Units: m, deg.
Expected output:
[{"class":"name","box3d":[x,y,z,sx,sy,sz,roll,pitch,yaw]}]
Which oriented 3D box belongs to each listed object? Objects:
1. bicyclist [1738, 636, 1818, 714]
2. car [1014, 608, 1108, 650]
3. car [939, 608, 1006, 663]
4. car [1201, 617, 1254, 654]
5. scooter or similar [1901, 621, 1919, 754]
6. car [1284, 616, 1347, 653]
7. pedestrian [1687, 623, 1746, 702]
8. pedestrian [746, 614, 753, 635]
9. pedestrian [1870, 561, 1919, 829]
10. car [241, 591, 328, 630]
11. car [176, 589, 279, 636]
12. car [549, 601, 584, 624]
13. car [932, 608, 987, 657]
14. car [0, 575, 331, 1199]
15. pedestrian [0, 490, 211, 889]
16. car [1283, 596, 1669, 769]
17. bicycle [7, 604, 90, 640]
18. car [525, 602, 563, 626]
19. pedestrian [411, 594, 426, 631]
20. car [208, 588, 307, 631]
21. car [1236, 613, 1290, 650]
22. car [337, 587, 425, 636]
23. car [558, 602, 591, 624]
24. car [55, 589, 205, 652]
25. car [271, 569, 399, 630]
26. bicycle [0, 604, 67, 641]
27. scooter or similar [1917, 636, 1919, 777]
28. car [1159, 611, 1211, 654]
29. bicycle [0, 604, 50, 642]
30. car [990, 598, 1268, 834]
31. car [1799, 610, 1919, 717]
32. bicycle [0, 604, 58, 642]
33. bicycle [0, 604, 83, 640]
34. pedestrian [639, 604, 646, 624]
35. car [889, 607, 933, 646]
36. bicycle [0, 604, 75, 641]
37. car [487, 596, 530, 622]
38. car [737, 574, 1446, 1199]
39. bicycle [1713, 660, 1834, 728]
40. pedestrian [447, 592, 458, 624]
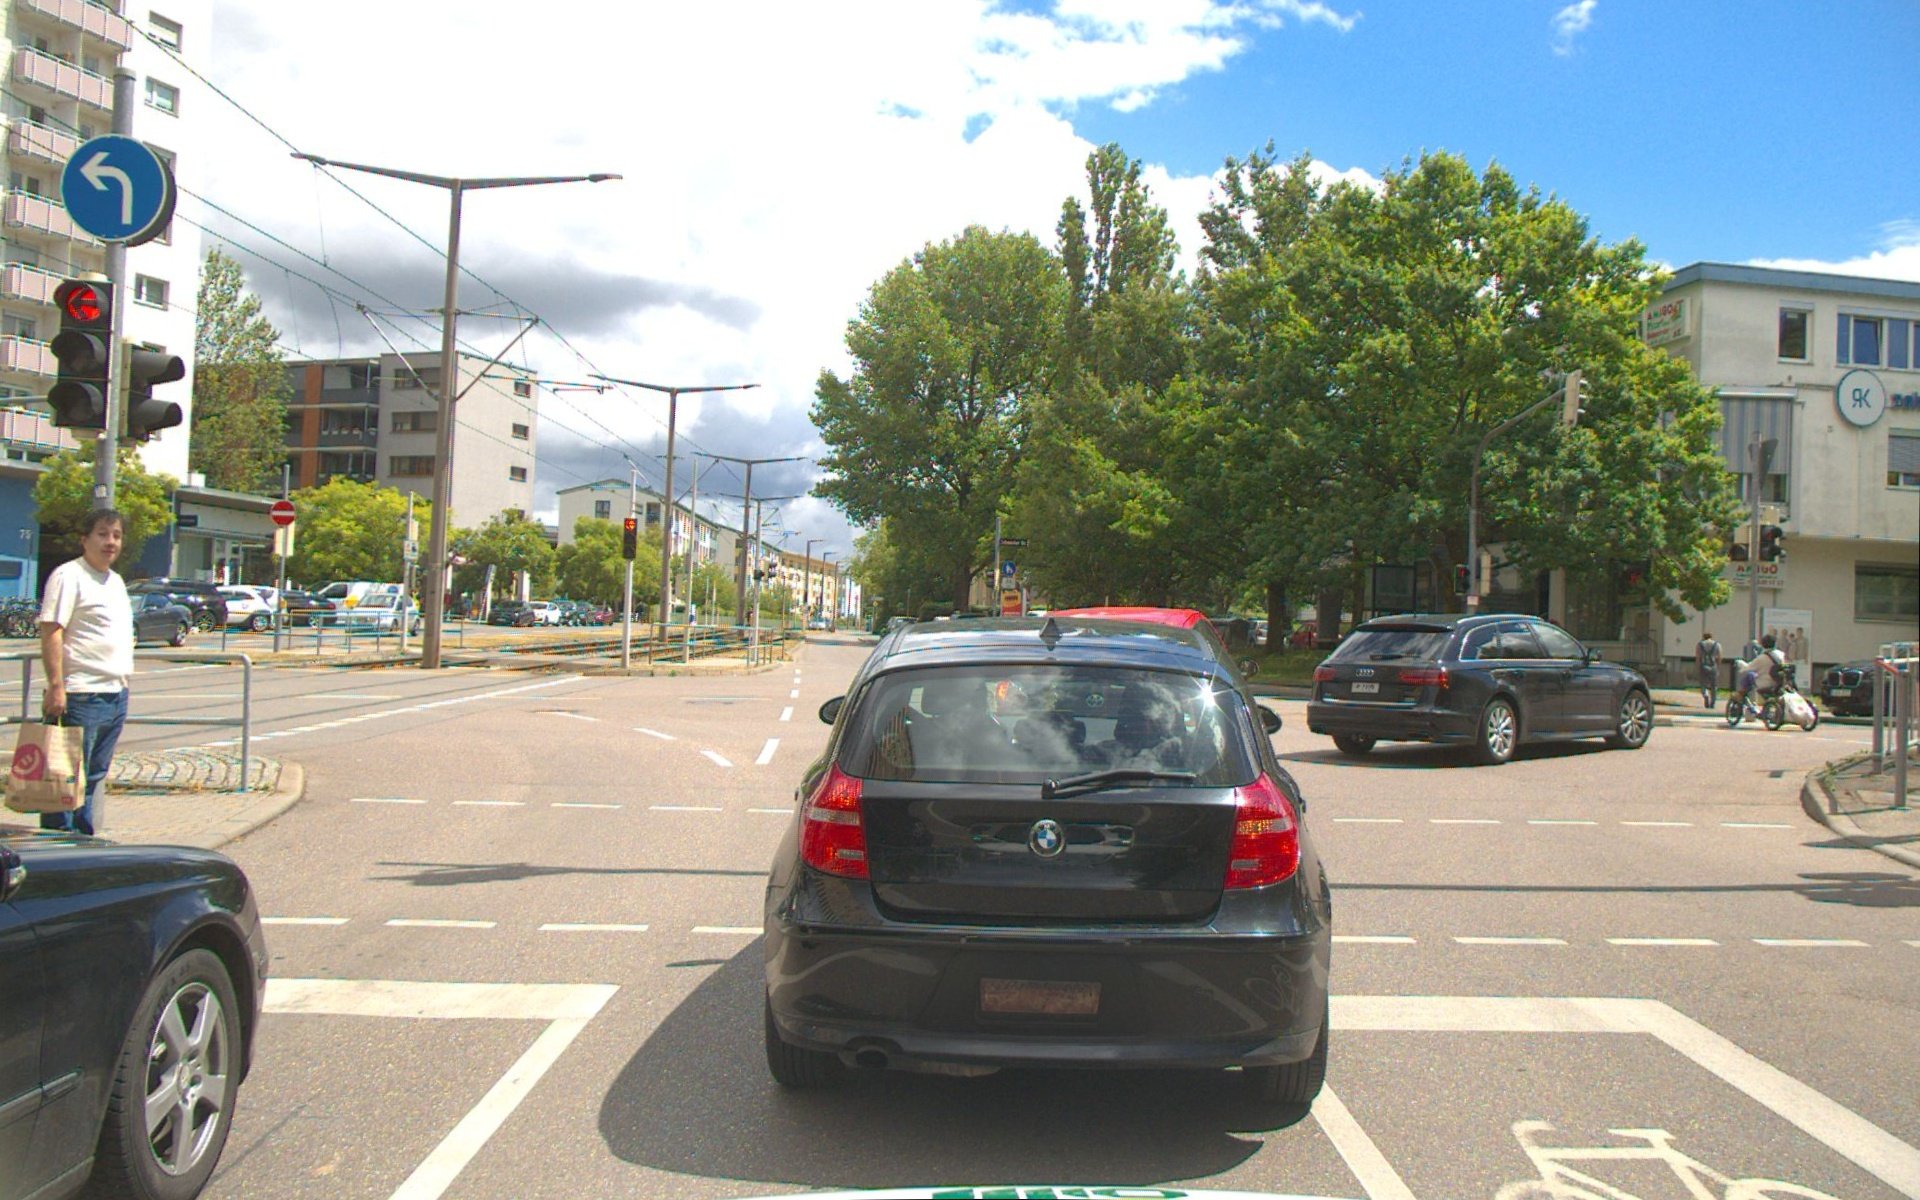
[{"class":"bicyclist","box3d":[11.458,1.045,23.176,0.775,1.040,0.636,2,0,-1]},{"class":"car","box3d":[4.641,1.331,75.766,3.933,1.855,1.766,1,0,-23]},{"class":"car","box3d":[0.374,1.151,54.198,2.108,1.713,3.999,1,-1,-1]},{"class":"car","box3d":[12.571,1.657,77.869,1.598,1.600,4.029,1,0,-4]},{"class":"scooter or similar","box3d":[9.212,0.819,14.933,1.338,1.176,0.539,3,0,-26]},{"class":"car","box3d":[17.070,1.643,79.598,1.698,1.623,3.993,1,0,-8]},{"class":"pedestrian","box3d":[16.426,1.353,35.939,0.886,1.672,0.770,2,0,-2]},{"class":"pedestrian","box3d":[-16.583,1.933,130.196,0.469,1.665,0.454,1,0,-2]},{"class":"pedestrian","box3d":[6.595,0.605,10.812,0.932,1.703,0.871,0,0,14]},{"class":"car","box3d":[-27.123,0.421,66.384,1.777,1.445,4.148,1,0,-45]},{"class":"car","box3d":[-26.614,0.454,60.043,4.144,1.597,1.949,1,0,43]},{"class":"car","box3d":[-25.457,0.770,107.185,1.728,1.419,3.994,1,0,-7]},{"class":"car","box3d":[-0.034,1.207,61.639,1.953,1.713,3.999,1,-1,-1]},{"class":"car","box3d":[-2.561,0.680,2.235,1.693,1.487,4.543,1,0,-1]},{"class":"pedestrian","box3d":[-4.235,0.414,8.025,0.851,1.839,0.741,1,0,-5]},{"class":"car","box3d":[5.564,0.796,17.525,4.484,1.581,1.969,1,-1,-43]},{"class":"bicycle","box3d":[-24.858,0.596,45.112,1.909,0.951,0.494,1,-1,-7]},{"class":"car","box3d":[-25.302,0.833,100.605,1.728,1.419,3.994,1,0,-7]},{"class":"pedestrian","box3d":[-26.159,0.591,79.896,0.537,1.746,0.667,1,0,-10]},{"class":"car","box3d":[-26.913,0.360,63.283,4.144,1.564,1.949,1,0,43]},{"class":"car","box3d":[14.449,1.491,79.134,1.598,1.623,3.997,1,0,-4]},{"class":"car","box3d":[-21.433,0.408,61.404,1.897,1.722,3.872,1,0,-1]},{"class":"car","box3d":[-26.003,0.883,111.742,1.728,1.419,3.994,1,0,-7]},{"class":"car","box3d":[-20.481,0.504,41.013,1.602,1.424,4.491,2,-1,-3]},{"class":"car","box3d":[-27.089,-0.049,71.543,2.810,2.522,6.614,1,0,-44]},{"class":"bicycle","box3d":[-24.704,0.592,43.656,1.909,0.951,0.494,1,-1,-7]},{"class":"scooter or similar","box3d":[8.403,0.798,13.115,1.315,1.299,0.462,1,1,6]},{"class":"car","box3d":[10.413,1.487,76.850,1.598,1.842,4.029,1,0,-4]},{"class":"bicycle","box3d":[-24.612,0.589,42.686,1.909,0.951,0.494,1,-1,-7]},{"class":"car","box3d":[1.363,0.742,12.259,1.509,1.466,3.198,1,0,15]},{"class":"car","box3d":[17.169,1.093,28.506,4.472,1.747,1.997,1,0,-8]},{"class":"bicycle","box3d":[-24.658,0.591,43.151,1.909,0.951,0.494,1,-1,-7]},{"class":"bicycle","box3d":[-24.788,0.595,44.635,1.909,0.951,0.494,1,-1,-7]},{"class":"pedestrian","box3d":[-26.569,1.196,138.469,0.444,1.665,0.480,1,0,-3]},{"class":"car","box3d":[-2.253,1.211,77.050,1.953,1.713,3.999,1,0,-1]},{"class":"bicycle","box3d":[-24.748,0.594,44.131,1.909,0.951,0.494,1,-1,-7]},{"class":"car","box3d":[-25.381,0.494,93.100,1.728,1.419,3.994,1,0,-7]},{"class":"car","box3d":[0.306,0.706,6.075,1.717,1.513,3.999,1,0,-1]},{"class":"bicycle","box3d":[11.457,1.308,23.353,0.775,0.833,1.807,2,0,-1]},{"class":"pedestrian","box3d":[-28.304,0.445,92.271,0.537,1.746,0.404,1,0,-11]}]
